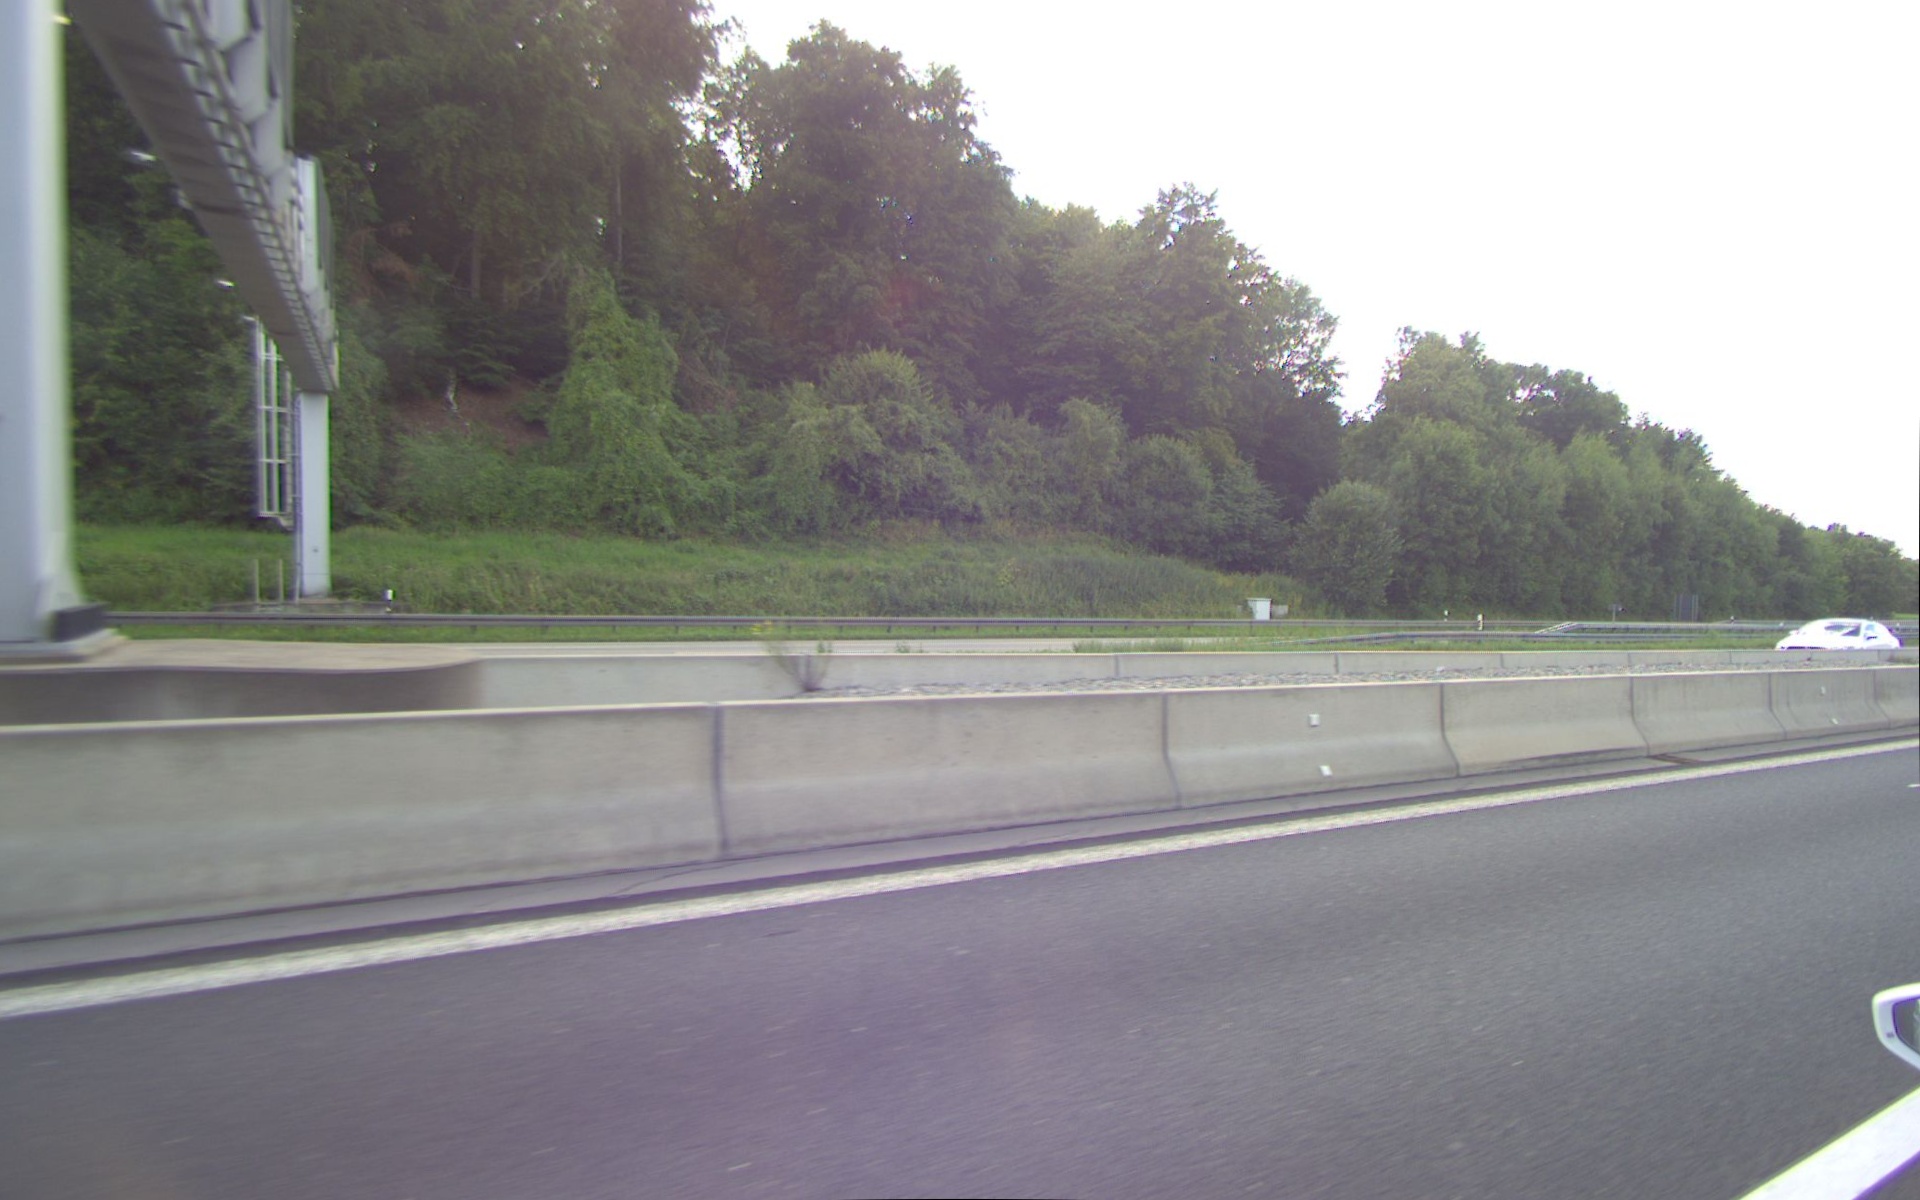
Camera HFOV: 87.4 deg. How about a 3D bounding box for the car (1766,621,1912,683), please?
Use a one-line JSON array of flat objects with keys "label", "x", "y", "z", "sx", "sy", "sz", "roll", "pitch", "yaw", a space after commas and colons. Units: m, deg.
[{"label": "car", "x": 25.402, "y": 1.469, "z": 28.989, "sx": 4.875, "sy": 1.602, "sz": 1.755, "roll": 1, "pitch": 1, "yaw": -31}]
